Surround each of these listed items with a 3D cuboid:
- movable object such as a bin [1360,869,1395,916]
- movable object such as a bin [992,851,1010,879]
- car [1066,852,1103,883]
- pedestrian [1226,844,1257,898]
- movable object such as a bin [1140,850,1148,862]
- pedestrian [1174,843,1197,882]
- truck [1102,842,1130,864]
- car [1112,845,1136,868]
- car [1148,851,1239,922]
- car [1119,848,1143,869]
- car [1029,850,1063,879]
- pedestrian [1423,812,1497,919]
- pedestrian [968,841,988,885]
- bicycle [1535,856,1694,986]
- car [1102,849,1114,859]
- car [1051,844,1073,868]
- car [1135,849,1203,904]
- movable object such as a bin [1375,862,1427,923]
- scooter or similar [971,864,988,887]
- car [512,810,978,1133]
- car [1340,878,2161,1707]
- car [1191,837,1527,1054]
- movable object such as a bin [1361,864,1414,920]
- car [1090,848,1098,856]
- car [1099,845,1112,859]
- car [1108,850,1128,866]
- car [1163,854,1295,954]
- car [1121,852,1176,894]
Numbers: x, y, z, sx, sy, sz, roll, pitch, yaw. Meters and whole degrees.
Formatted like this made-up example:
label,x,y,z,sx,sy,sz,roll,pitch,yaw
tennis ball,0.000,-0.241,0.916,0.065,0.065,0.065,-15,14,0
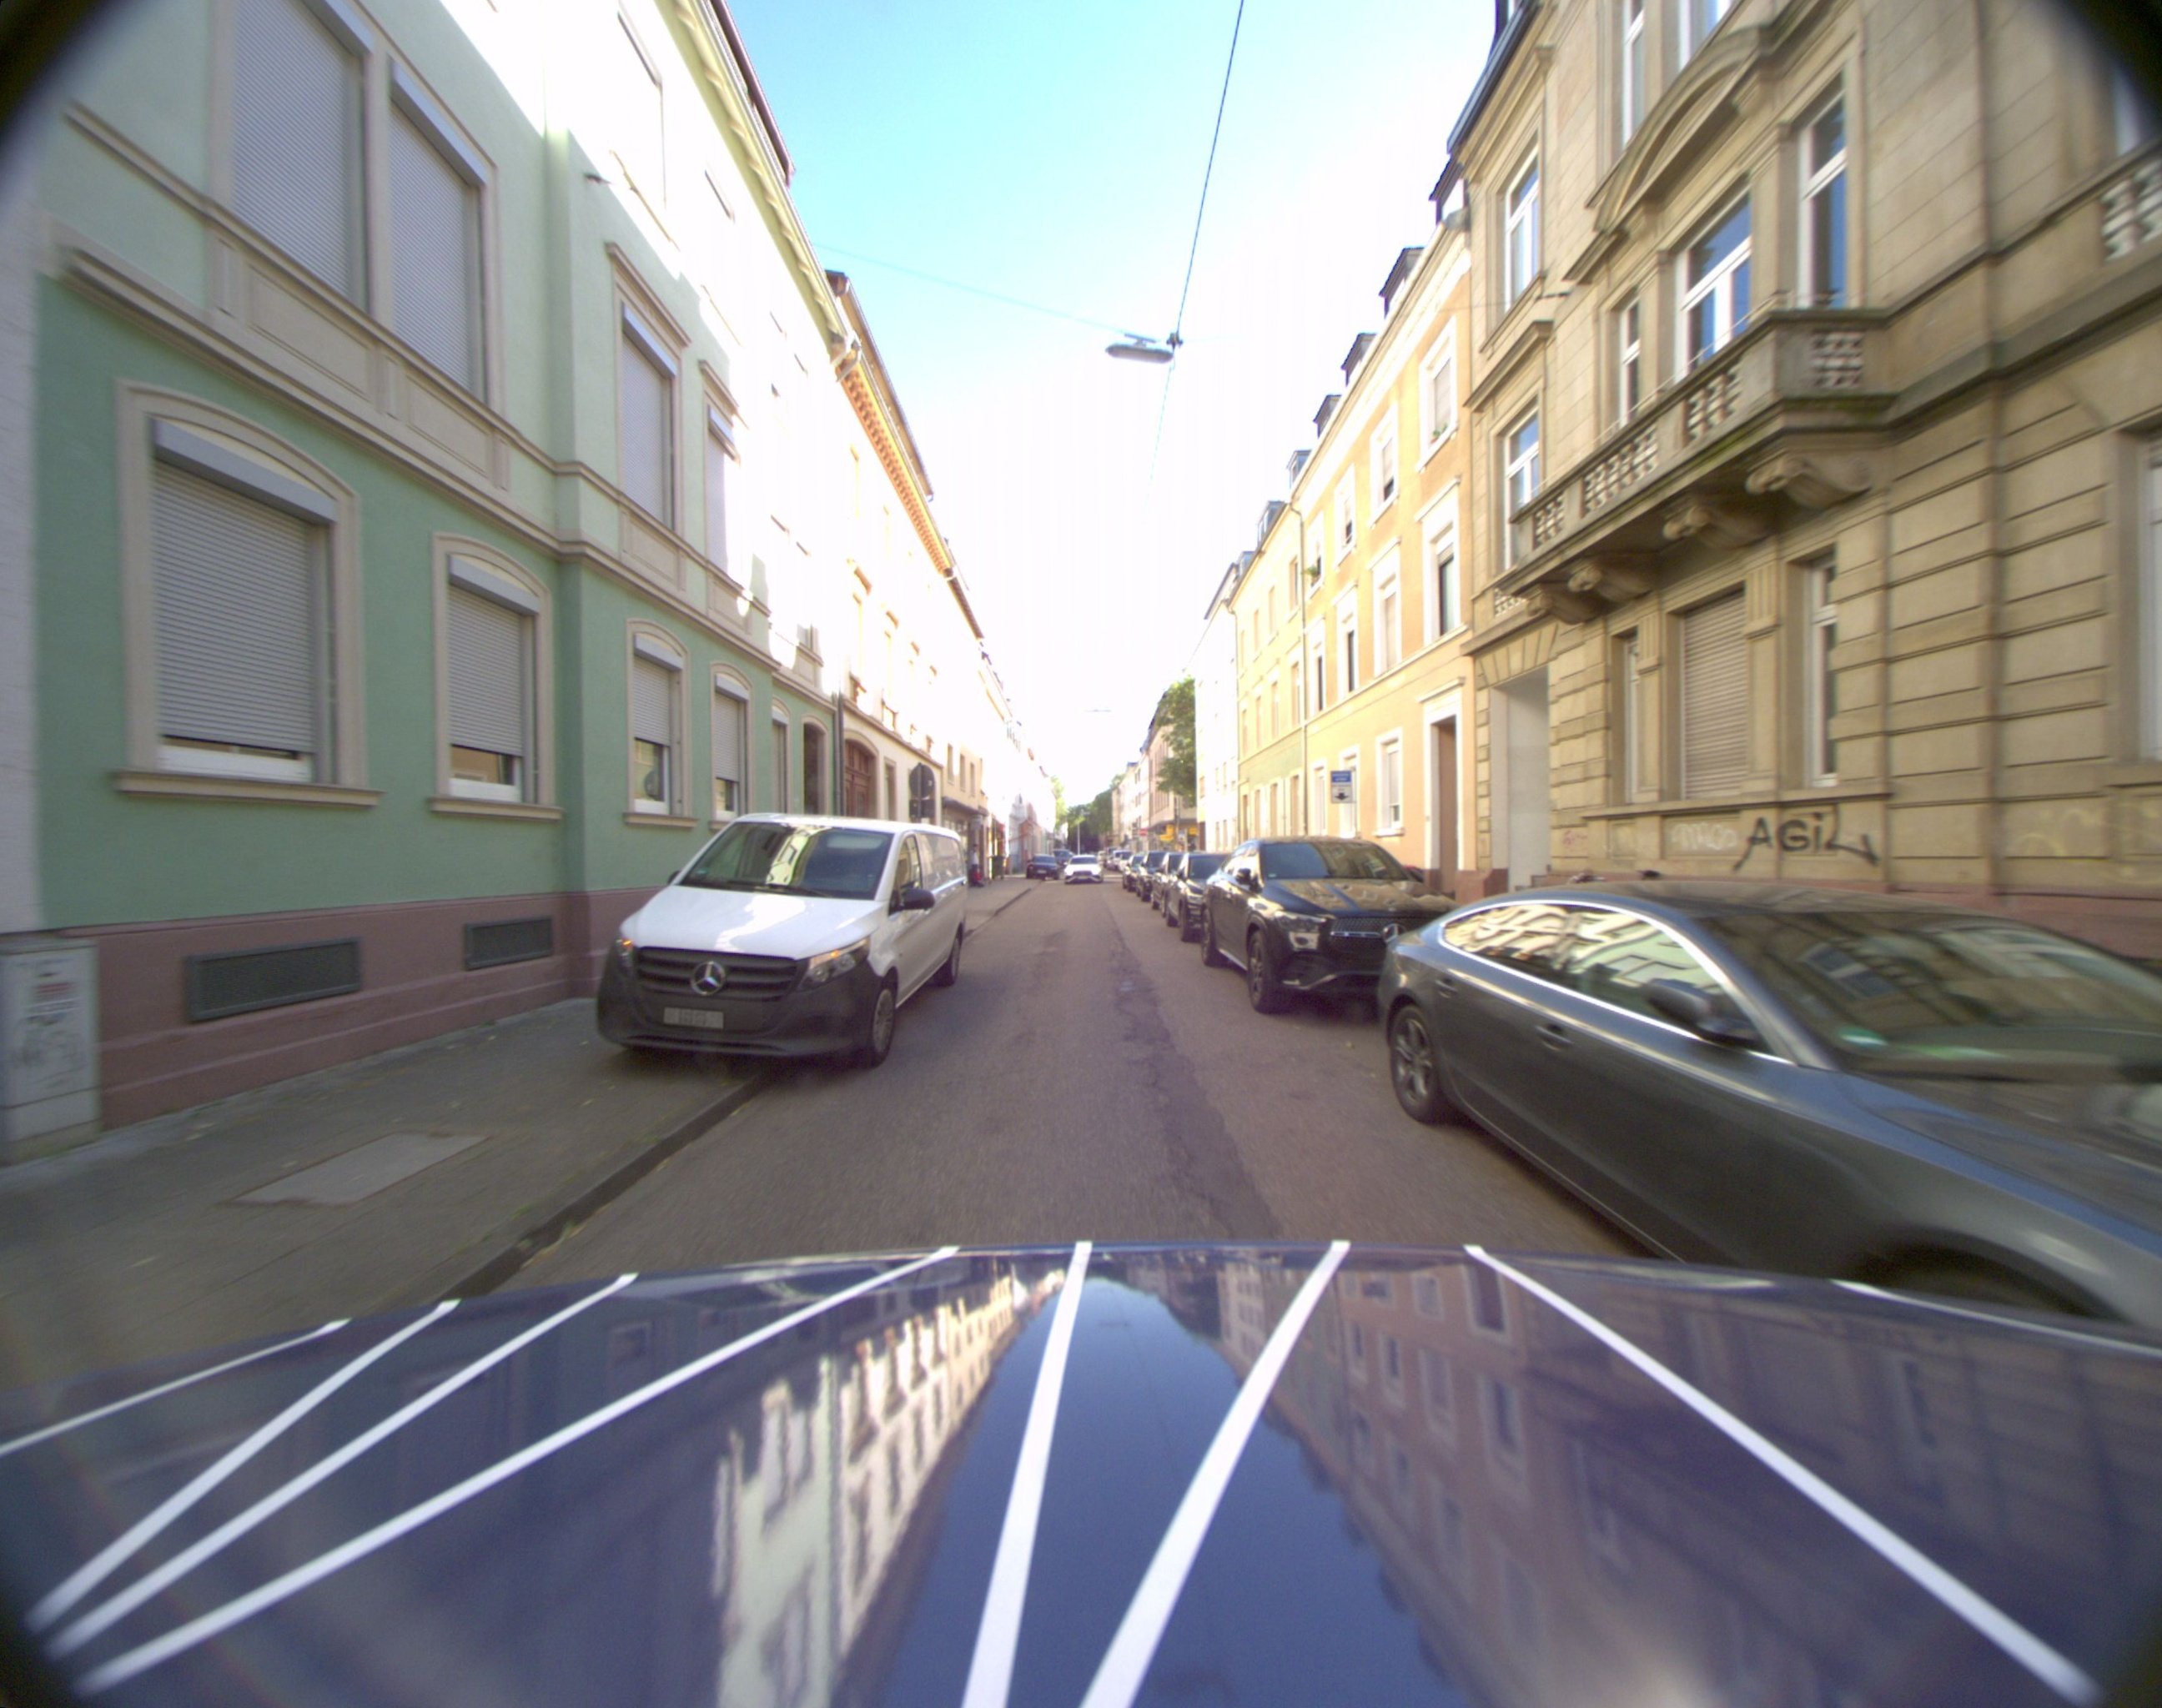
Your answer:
label,x,y,z,sx,sy,sz,roll,pitch,yaw
movable object such as a bin,6.217,0.808,15.932,0.474,0.932,0.561,-3,1,-2
movable object such as a bin,-4.370,0.589,41.511,0.748,1.428,1.372,2,1,2
car,0.204,0.654,38.607,1.761,1.399,4.021,-1,1,0
pedestrian,5.196,0.541,24.670,0.766,1.704,0.883,-2,2,-1
movable object such as a bin,6.707,0.199,81.285,0.759,1.184,0.686,-1,2,-4
pedestrian,4.927,0.386,35.960,0.913,1.822,1.245,-1,2,0
truck,3.774,-0.183,83.535,2.171,2.295,6.344,0,1,-5
car,3.718,0.180,66.172,1.771,1.888,4.808,1,0,-1
car,2.681,0.714,18.902,1.620,1.545,3.977,-1,1,-1
car,3.902,0.351,59.956,1.671,1.551,3.722,-1,1,1
car,-2.051,0.570,45.710,1.805,1.570,4.896,-2,1,0
pedestrian,6.689,0.192,13.454,0.868,1.826,0.883,-1,2,-1
pedestrian,-4.466,0.388,32.850,0.651,1.849,0.747,1,0,-22
bicycle,5.927,0.678,8.583,0.512,1.270,1.866,-1,1,2
car,4.097,0.008,114.926,1.731,1.484,4.115,-2,0,2
car,-1.735,0.168,70.657,1.975,2.017,4.898,-2,1,-1
car,2.751,0.657,24.696,1.748,1.605,4.603,0,0,1
movable object such as a bin,6.132,0.730,14.580,0.721,1.125,0.584,-1,2,-3
scooter or similar,-4.269,0.907,31.894,0.491,0.939,0.868,0,0,7
car,-2.411,0.699,7.392,1.988,1.873,5.599,3,0,0
car,2.711,0.929,2.821,1.850,1.409,4.816,1,1,0
car,2.580,0.705,8.616,1.941,1.726,5.141,0,1,0
movable object such as a bin,6.117,0.749,15.201,0.737,1.082,0.682,-1,0,-3
car,2.995,-0.549,170.765,1.786,1.674,4.021,-1,1,0
car,3.918,-0.312,121.428,1.913,2.076,4.696,-1,1,0
car,3.488,0.367,72.176,1.669,1.514,4.488,1,0,-1
car,2.561,0.782,14.136,1.717,1.522,4.367,0,1,2
car,2.633,0.693,30.557,1.718,1.480,4.851,2,1,-1
